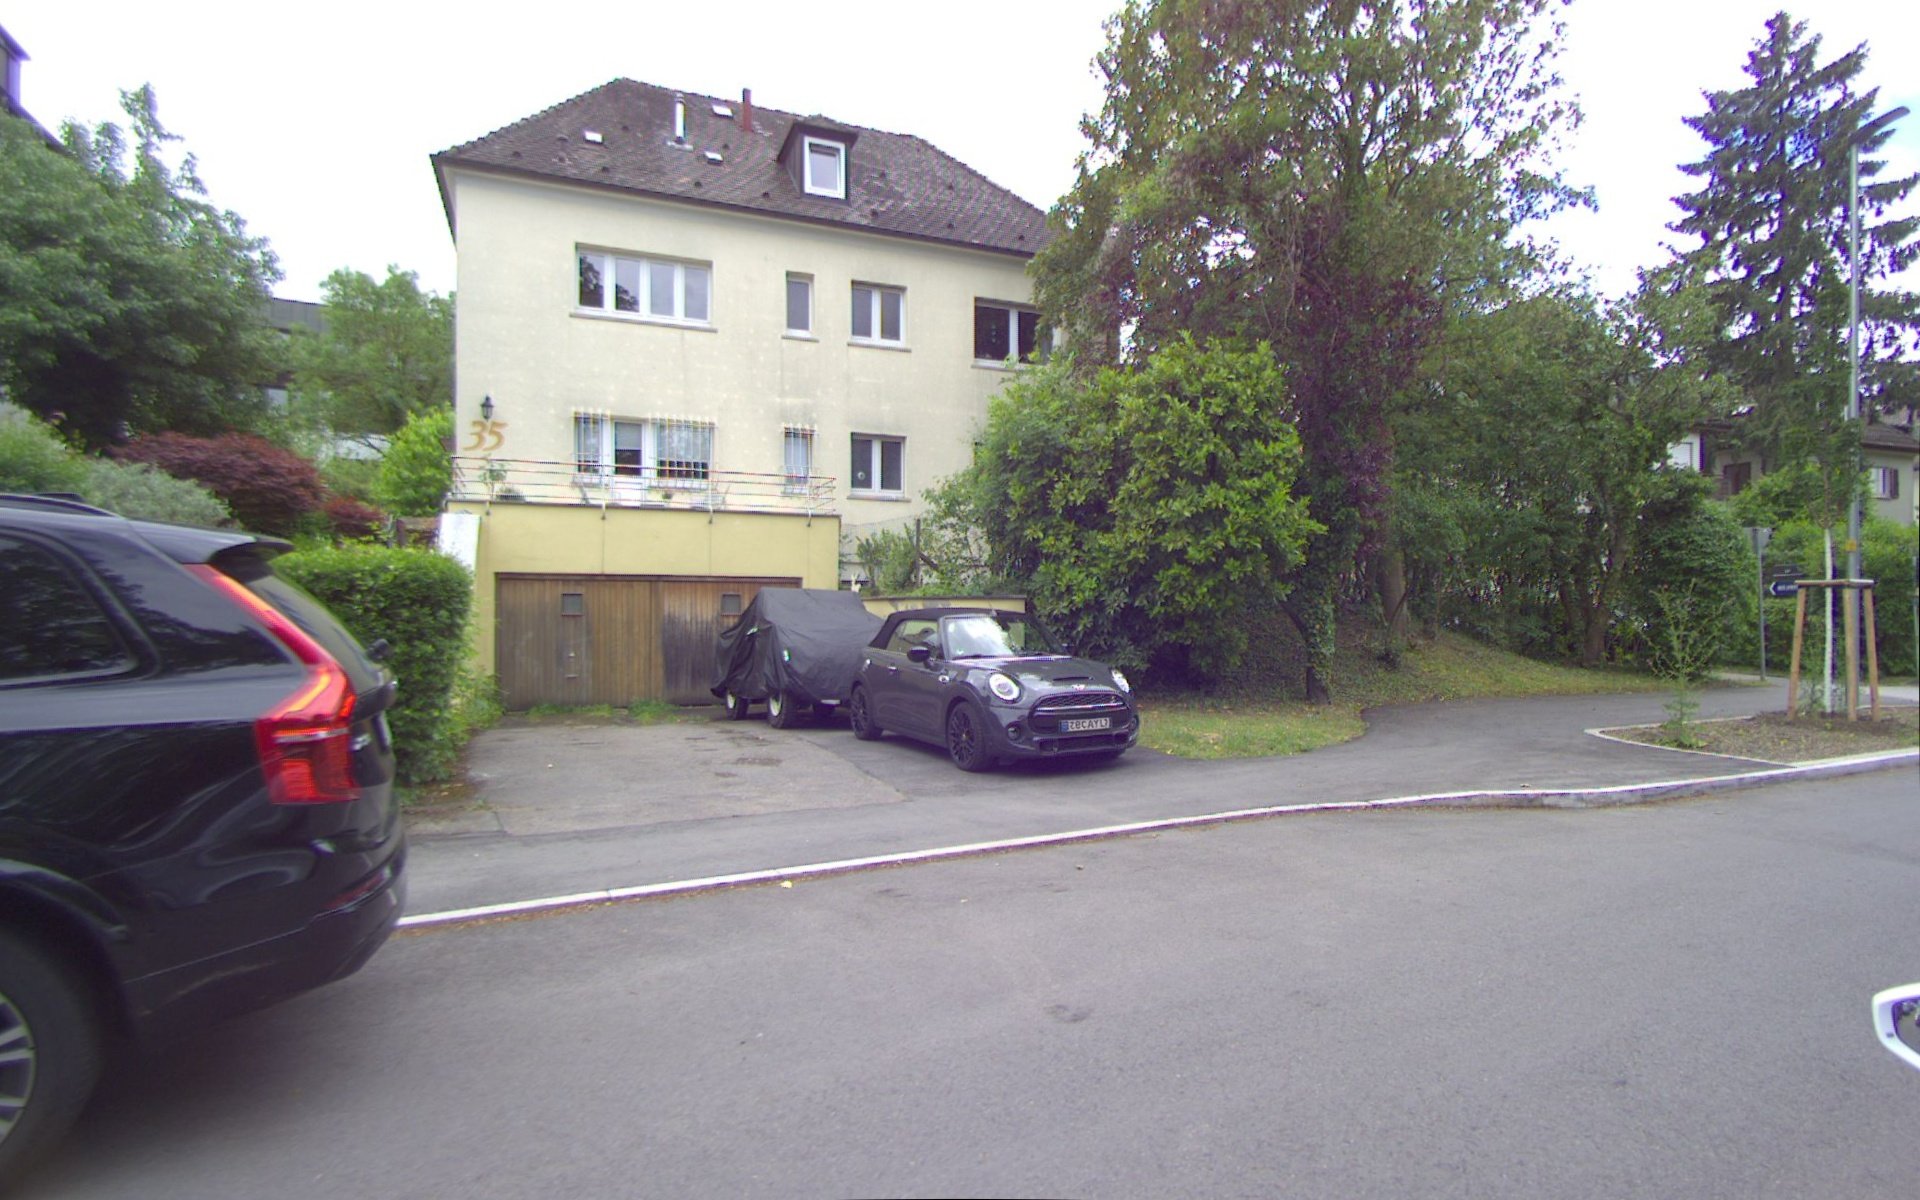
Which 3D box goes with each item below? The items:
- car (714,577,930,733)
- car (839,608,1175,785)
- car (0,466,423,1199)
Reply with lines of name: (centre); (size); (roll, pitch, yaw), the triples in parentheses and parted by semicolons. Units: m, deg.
car: (-2.011, 0.751, 13.697); (1.982, 1.817, 3.538); (1, -3, -25)
car: (0.262, 0.797, 10.209); (1.755, 1.403, 3.808); (0, 0, -27)
car: (-4.163, 0.537, 2.328); (5.126, 1.760, 1.966); (1, 0, -29)
